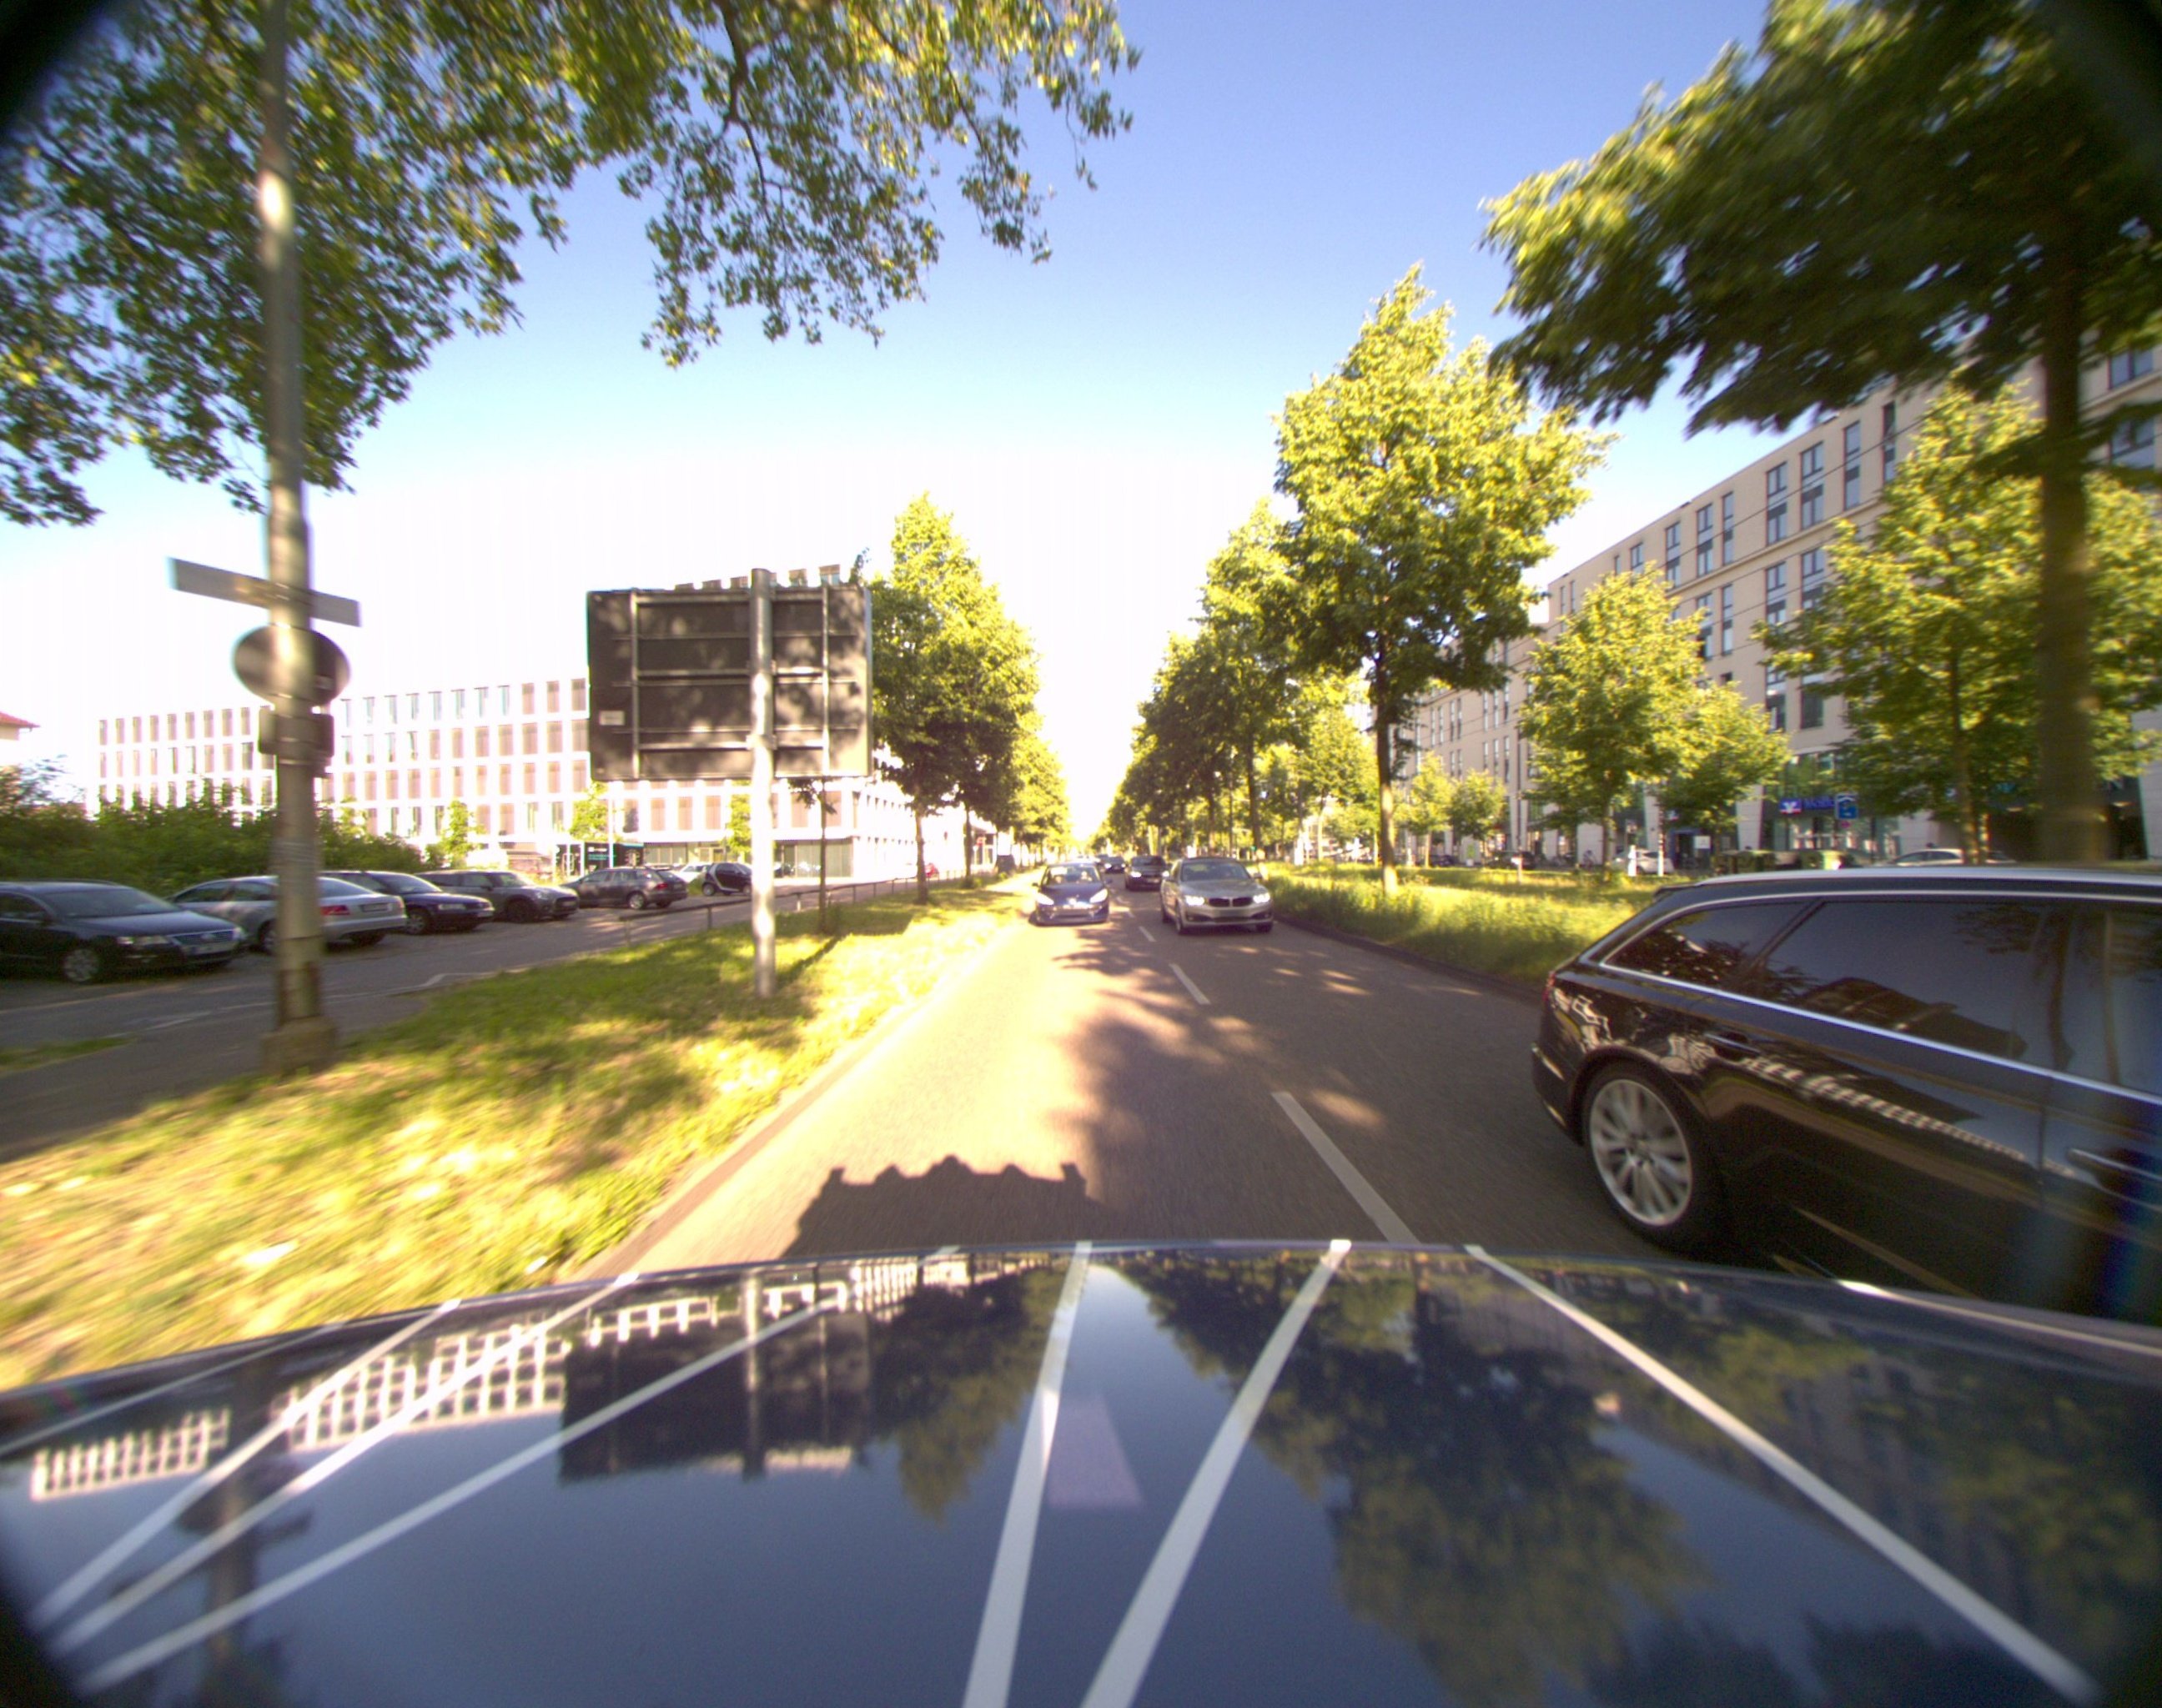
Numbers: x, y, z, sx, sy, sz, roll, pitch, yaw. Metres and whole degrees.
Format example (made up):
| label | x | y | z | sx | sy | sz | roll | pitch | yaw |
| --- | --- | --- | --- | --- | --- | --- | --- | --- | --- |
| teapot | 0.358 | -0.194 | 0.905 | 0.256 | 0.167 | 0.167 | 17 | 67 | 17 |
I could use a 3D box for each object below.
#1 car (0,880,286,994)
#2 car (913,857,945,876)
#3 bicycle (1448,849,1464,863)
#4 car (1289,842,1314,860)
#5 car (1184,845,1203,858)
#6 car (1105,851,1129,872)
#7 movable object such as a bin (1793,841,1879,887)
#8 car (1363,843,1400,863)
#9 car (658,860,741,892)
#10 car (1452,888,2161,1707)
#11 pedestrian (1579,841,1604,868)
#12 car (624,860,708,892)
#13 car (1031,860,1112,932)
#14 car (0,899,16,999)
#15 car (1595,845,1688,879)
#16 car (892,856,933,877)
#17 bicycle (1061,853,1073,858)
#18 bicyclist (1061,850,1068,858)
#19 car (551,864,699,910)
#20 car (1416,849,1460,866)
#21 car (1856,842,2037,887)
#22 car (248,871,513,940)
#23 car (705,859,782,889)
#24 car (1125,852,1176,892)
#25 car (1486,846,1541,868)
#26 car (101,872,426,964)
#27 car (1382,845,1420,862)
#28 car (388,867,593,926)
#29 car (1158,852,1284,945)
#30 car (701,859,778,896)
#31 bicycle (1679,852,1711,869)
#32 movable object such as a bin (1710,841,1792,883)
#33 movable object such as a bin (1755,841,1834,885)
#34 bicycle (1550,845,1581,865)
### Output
| label | x | y | z | sx | sy | sz | roll | pitch | yaw |
| --- | --- | --- | --- | --- | --- | --- | --- | --- | --- |
| car | -16.109 | 1.250 | 12.138 | 4.731 | 1.398 | 2.000 | 2 | 1 | 1 |
| car | -13.036 | 1.019 | 65.444 | 1.869 | 1.477 | 4.272 | 2 | 1 | 1 |
| bicycle | 38.923 | 0.196 | 78.922 | 0.663 | 1.317 | 2.336 | -2 | 1 | 7 |
| car | 26.338 | -0.409 | 90.952 | 1.998 | 2.002 | 4.000 | -3 | 1 | 3 |
| car | 22.636 | -0.541 | 153.711 | 2.512 | 2.368 | 6.025 | -3 | 1 | -3 |
| car | 2.963 | 0.626 | 62.853 | 1.782 | 1.571 | 3.783 | -3 | 1 | 1 |
| movable object such as a bin | 31.242 | 0.386 | 31.473 | 1.975 | 1.784 | 1.555 | -3 | 1 | -1 |
| car | 31.854 | -0.111 | 80.794 | 1.999 | 2.002 | 4.553 | -1 | 0 | -2 |
| car | -20.905 | 1.164 | 41.802 | 1.748 | 1.527 | 3.886 | -2 | 1 | 19 |
| car | 2.933 | 0.900 | 1.345 | 1.958 | 1.471 | 5.084 | -1 | -1 | -1 |
| pedestrian | 34.268 | 0.037 | 51.000 | 0.844 | 1.733 | 1.223 | -3 | 1 | 1 |
| car | -23.128 | 1.175 | 42.500 | 1.719 | 1.531 | 3.956 | -2 | 1 | 19 |
| car | -0.158 | 0.957 | 19.128 | 1.766 | 1.462 | 4.000 | -3 | 1 | 2 |
| car | -17.016 | 1.308 | 9.982 | 3.996 | 1.384 | 1.620 | 1 | 1 | 3 |
| car | 31.839 | 0.417 | 43.340 | 1.999 | 1.719 | 4.337 | -3 | 1 | -2 |
| car | -13.369 | 0.960 | 60.626 | 1.998 | 1.477 | 4.402 | 2 | 1 | 3 |
| bicycle | -2.388 | 0.264 | 127.853 | 1.927 | 0.899 | 0.647 | -1 | 1 | 3 |
| bicyclist | -2.704 | -0.027 | 127.884 | 1.086 | 1.315 | 0.639 | -1 | 1 | 3 |
| car | -15.758 | 1.124 | 26.377 | 4.089 | 1.459 | 1.715 | 0 | 1 | 1 |
| car | 31.858 | 0.303 | 67.942 | 1.728 | 1.405 | 4.336 | -1 | 0 | -3 |
| car | 31.425 | 0.343 | 27.795 | 1.999 | 1.433 | 4.018 | -3 | 1 | -2 |
| car | -16.351 | 1.179 | 17.931 | 4.340 | 1.469 | 1.906 | 1 | -1 | -3 |
| car | -18.250 | 1.055 | 41.240 | 1.595 | 1.536 | 3.826 | 0 | -1 | 20 |
| car | 2.981 | 0.721 | 33.273 | 1.950 | 1.514 | 4.000 | -3 | 1 | 3 |
| car | 31.517 | 0.223 | 55.500 | 1.562 | 1.471 | 4.271 | -2 | 0 | 0 |
| car | -15.977 | 1.198 | 15.022 | 4.390 | 1.403 | 2.000 | 3 | 1 | 3 |
| car | 31.821 | -0.039 | 75.726 | 1.999 | 1.563 | 3.999 | -1 | 0 | -2 |
| car | -16.210 | 1.148 | 21.019 | 4.202 | 1.490 | 1.782 | 0 | 1 | -2 |
| car | 2.770 | 0.802 | 16.000 | 1.886 | 1.569 | 4.277 | -3 | 1 | 1 |
| car | -15.237 | 1.030 | 33.982 | 2.771 | 1.541 | 1.463 | 0 | 1 | 10 |
| bicycle | 38.931 | 0.407 | 48.201 | 0.619 | 0.983 | 1.849 | -3 | 1 | 6 |
| movable object such as a bin | 31.116 | 0.344 | 35.332 | 1.975 | 1.784 | 2.010 | -3 | 1 | -2 |
| movable object such as a bin | 31.225 | 0.365 | 33.275 | 1.975 | 1.784 | 1.555 | -3 | 1 | -1 |
| bicycle | 38.635 | 0.029 | 60.591 | 0.619 | 1.537 | 3.034 | -3 | 1 | 3 |
